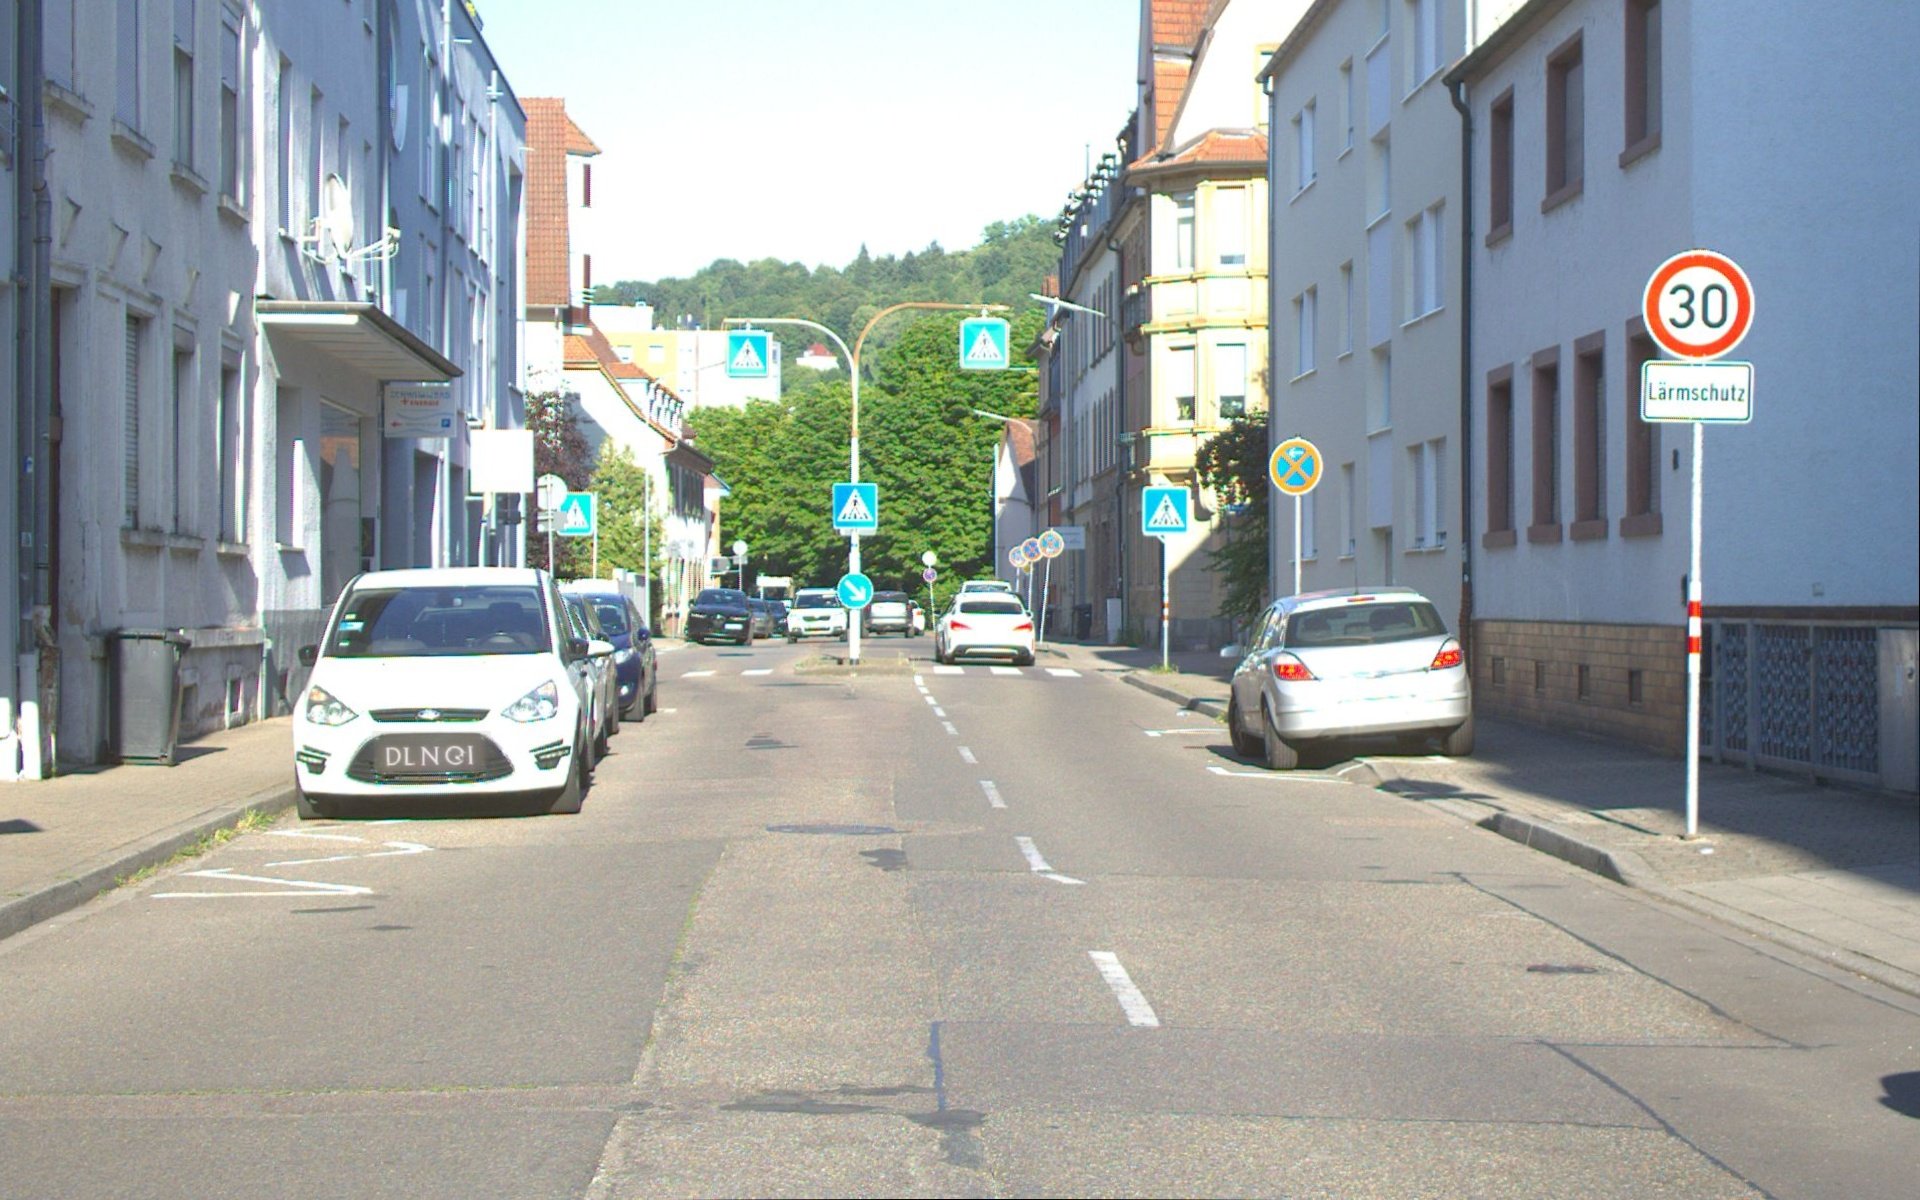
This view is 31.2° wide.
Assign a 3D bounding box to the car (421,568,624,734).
[{"bbox_3d":[-4.304,0.485,34.293,1.660,1.521,3.809,1,0,-2],"label":"car"}]

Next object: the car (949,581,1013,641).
[{"bbox_3d":[0.667,0.341,111.120,1.841,1.899,4.000,0,0,-3],"label":"car"}]

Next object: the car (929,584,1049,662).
[{"bbox_3d":[0.536,0.449,67.015,1.993,1.461,4.000,1,-1,-4],"label":"car"}]

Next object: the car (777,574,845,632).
[{"bbox_3d":[-4.556,0.090,104.794,1.807,1.696,4.192,-1,0,-6],"label":"car"}]

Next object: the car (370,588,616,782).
[{"bbox_3d":[-3.910,0.676,29.346,1.764,1.491,4.127,-1,0,-4],"label":"car"}]

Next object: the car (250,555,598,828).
[{"bbox_3d":[-3.571,0.569,23.766,1.993,1.642,5.222,1,0,-5],"label":"car"}]

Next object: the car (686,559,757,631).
[{"bbox_3d":[-6.959,-0.132,100.444,1.993,2.007,4.000,1,0,-4],"label":"car"}]

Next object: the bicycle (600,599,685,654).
[{"bbox_3d":[-6.885,0.568,74.620,1.786,1.180,0.599,0,0,-1],"label":"bicycle"}]

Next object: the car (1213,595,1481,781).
[{"bbox_3d":[3.303,0.728,30.106,1.741,1.487,4.439,-1,0,-1],"label":"car"}]

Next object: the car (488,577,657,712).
[{"bbox_3d":[-4.473,0.532,40.143,1.730,1.494,3.959,0,-1,-3],"label":"car"}]

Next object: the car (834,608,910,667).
[{"bbox_3d":[-3.048,1.274,118.667,1.993,2.007,4.001,0,0,-11],"label":"car"}]
